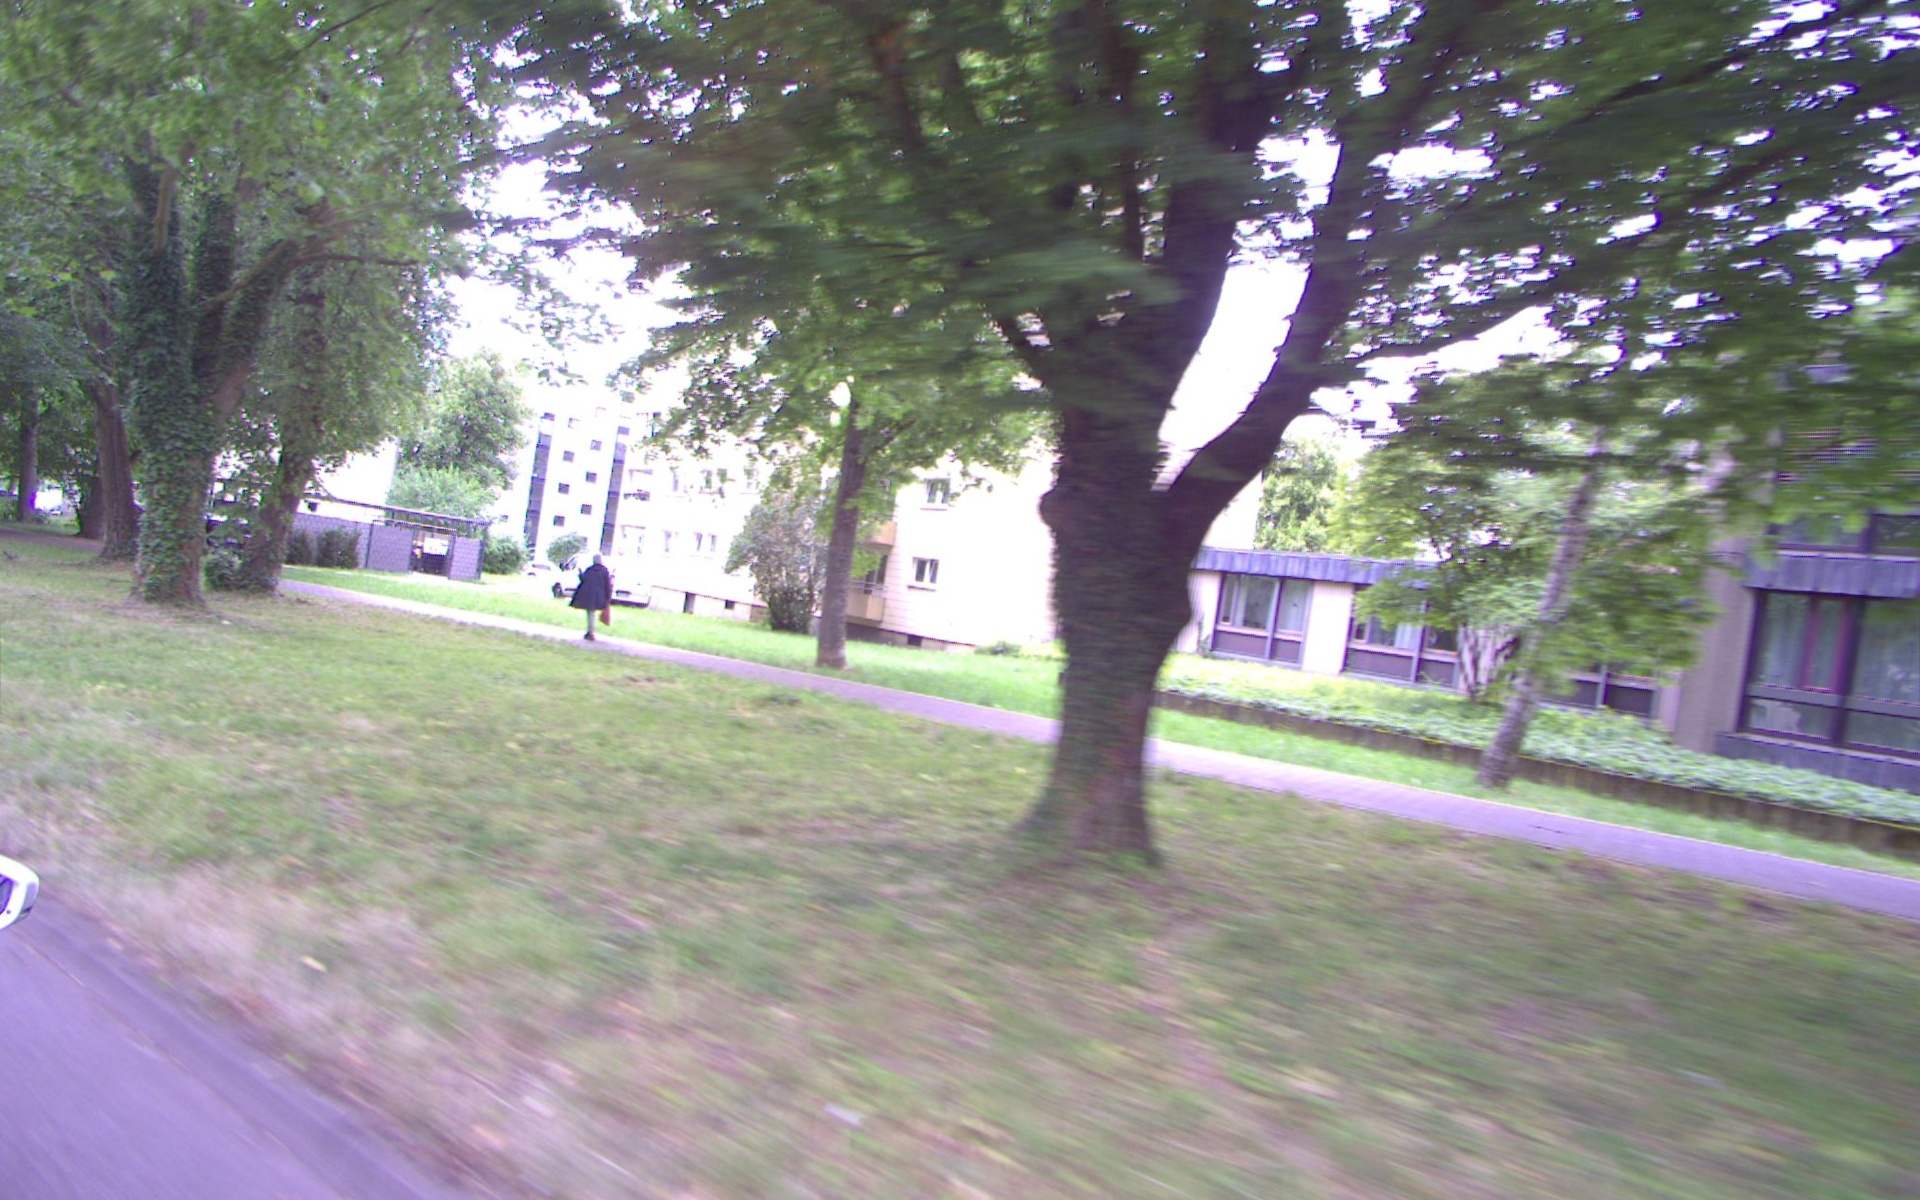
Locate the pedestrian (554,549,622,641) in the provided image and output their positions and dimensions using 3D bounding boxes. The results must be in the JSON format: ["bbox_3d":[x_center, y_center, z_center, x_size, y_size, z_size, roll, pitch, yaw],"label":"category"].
[{"bbox_3d":[-7.420,-0.089,20.065,0.801,1.707,0.769,7,1,31],"label":"pedestrian"}]

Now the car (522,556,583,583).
[{"bbox_3d":[-32.437,-2.381,80.129,4.277,1.528,1.792,8,-1,-21],"label":"car"}]

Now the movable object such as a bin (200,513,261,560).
[{"bbox_3d":[-27.531,-2.401,37.983,1.292,1.520,1.329,7,0,29],"label":"movable object such as a bin"}]

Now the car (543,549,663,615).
[{"bbox_3d":[-13.891,-0.716,38.963,4.896,1.866,2.084,9,1,41],"label":"car"}]
